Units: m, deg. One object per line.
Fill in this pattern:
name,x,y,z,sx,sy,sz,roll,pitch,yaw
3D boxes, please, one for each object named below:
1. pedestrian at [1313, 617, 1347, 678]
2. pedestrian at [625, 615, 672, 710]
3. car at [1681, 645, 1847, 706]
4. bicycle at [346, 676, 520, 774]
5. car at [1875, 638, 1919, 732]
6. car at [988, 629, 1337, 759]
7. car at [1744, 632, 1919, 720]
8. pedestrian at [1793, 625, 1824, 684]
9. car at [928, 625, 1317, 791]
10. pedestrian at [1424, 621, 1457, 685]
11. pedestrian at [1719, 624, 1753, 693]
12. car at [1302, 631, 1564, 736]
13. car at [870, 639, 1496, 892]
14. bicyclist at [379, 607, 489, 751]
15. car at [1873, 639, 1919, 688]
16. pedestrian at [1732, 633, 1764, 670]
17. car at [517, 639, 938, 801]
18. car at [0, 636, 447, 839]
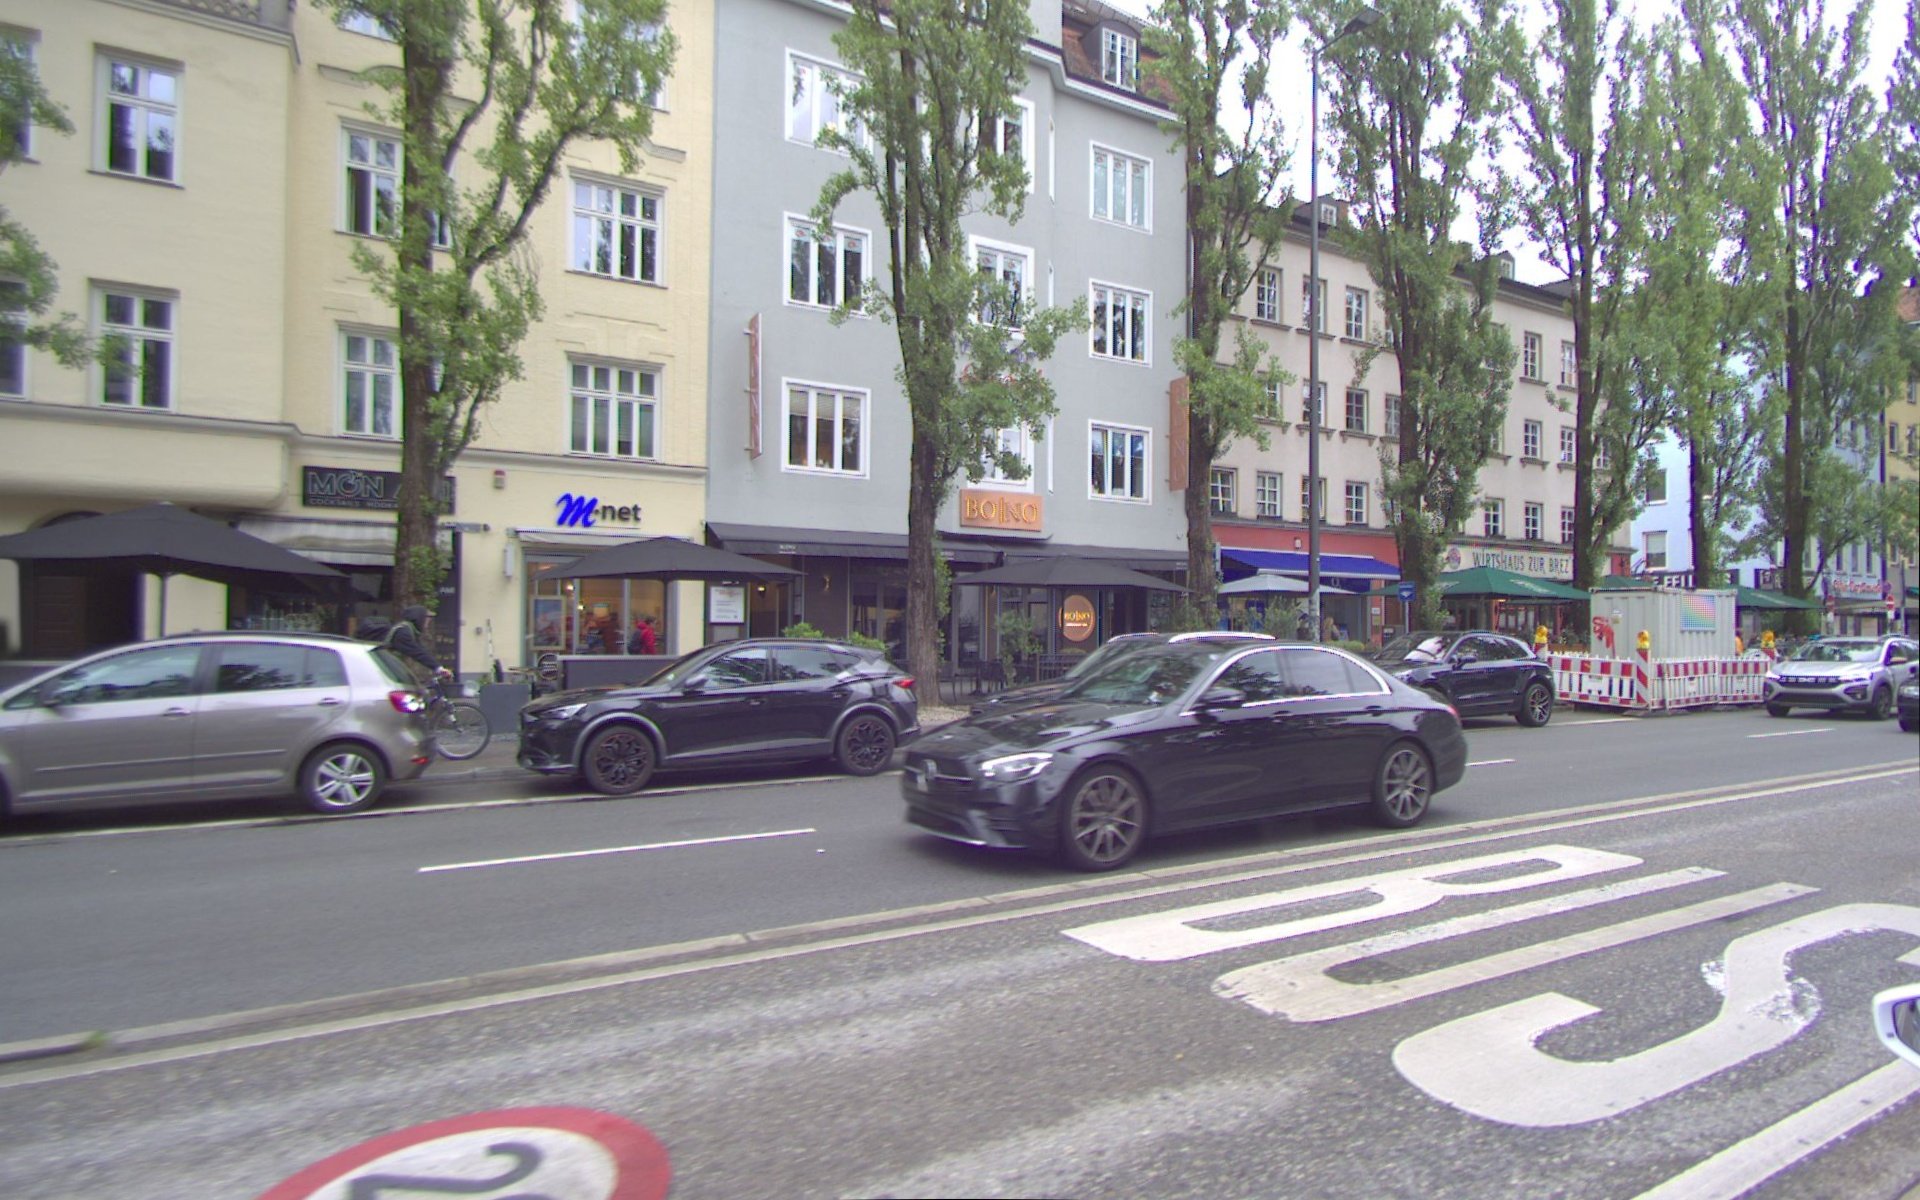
pedestrian,10.530,1.345,28.575,0.640,1.722,0.635,1,-2,-29
pedestrian,-5.912,1.170,19.056,0.746,1.770,0.536,1,-1,-29
car,18.620,1.690,23.253,3.657,1.267,1.802,1,-2,-30
bicycle,-6.094,1.420,11.669,1.747,1.020,0.507,1,-2,-30
car,16.406,1.324,15.968,3.679,1.432,1.704,1,-2,-30
car,2.977,1.246,14.558,4.830,1.617,1.986,1,-3,-28
car,17.283,1.447,19.568,3.953,1.552,1.817,2,-3,-30
pedestrian,26.548,1.689,31.411,0.825,1.811,0.658,2,-1,-45
car,1.904,1.131,11.450,4.161,1.585,1.841,2,-3,-29
pedestrian,14.487,1.592,30.296,0.640,1.886,0.635,1,-2,-29
pedestrian,19.751,1.481,25.572,0.568,1.724,0.478,1,-1,-29
car,8.114,1.333,17.188,4.277,1.585,1.842,1,-2,-27
car,1.843,1.052,7.902,4.715,1.450,1.985,1,-3,-30
bicyclist,-6.110,0.901,11.686,1.094,1.601,0.494,1,-2,-30
car,28.091,1.821,29.114,3.199,1.362,1.505,1,-2,-30
pedestrian,33.931,2.193,43.235,0.887,1.562,0.791,1,-2,-29
car,-2.588,1.207,11.320,4.266,1.502,1.986,1,-3,-29
car,-6.816,1.099,8.946,3.951,1.539,1.797,1,-3,-29
